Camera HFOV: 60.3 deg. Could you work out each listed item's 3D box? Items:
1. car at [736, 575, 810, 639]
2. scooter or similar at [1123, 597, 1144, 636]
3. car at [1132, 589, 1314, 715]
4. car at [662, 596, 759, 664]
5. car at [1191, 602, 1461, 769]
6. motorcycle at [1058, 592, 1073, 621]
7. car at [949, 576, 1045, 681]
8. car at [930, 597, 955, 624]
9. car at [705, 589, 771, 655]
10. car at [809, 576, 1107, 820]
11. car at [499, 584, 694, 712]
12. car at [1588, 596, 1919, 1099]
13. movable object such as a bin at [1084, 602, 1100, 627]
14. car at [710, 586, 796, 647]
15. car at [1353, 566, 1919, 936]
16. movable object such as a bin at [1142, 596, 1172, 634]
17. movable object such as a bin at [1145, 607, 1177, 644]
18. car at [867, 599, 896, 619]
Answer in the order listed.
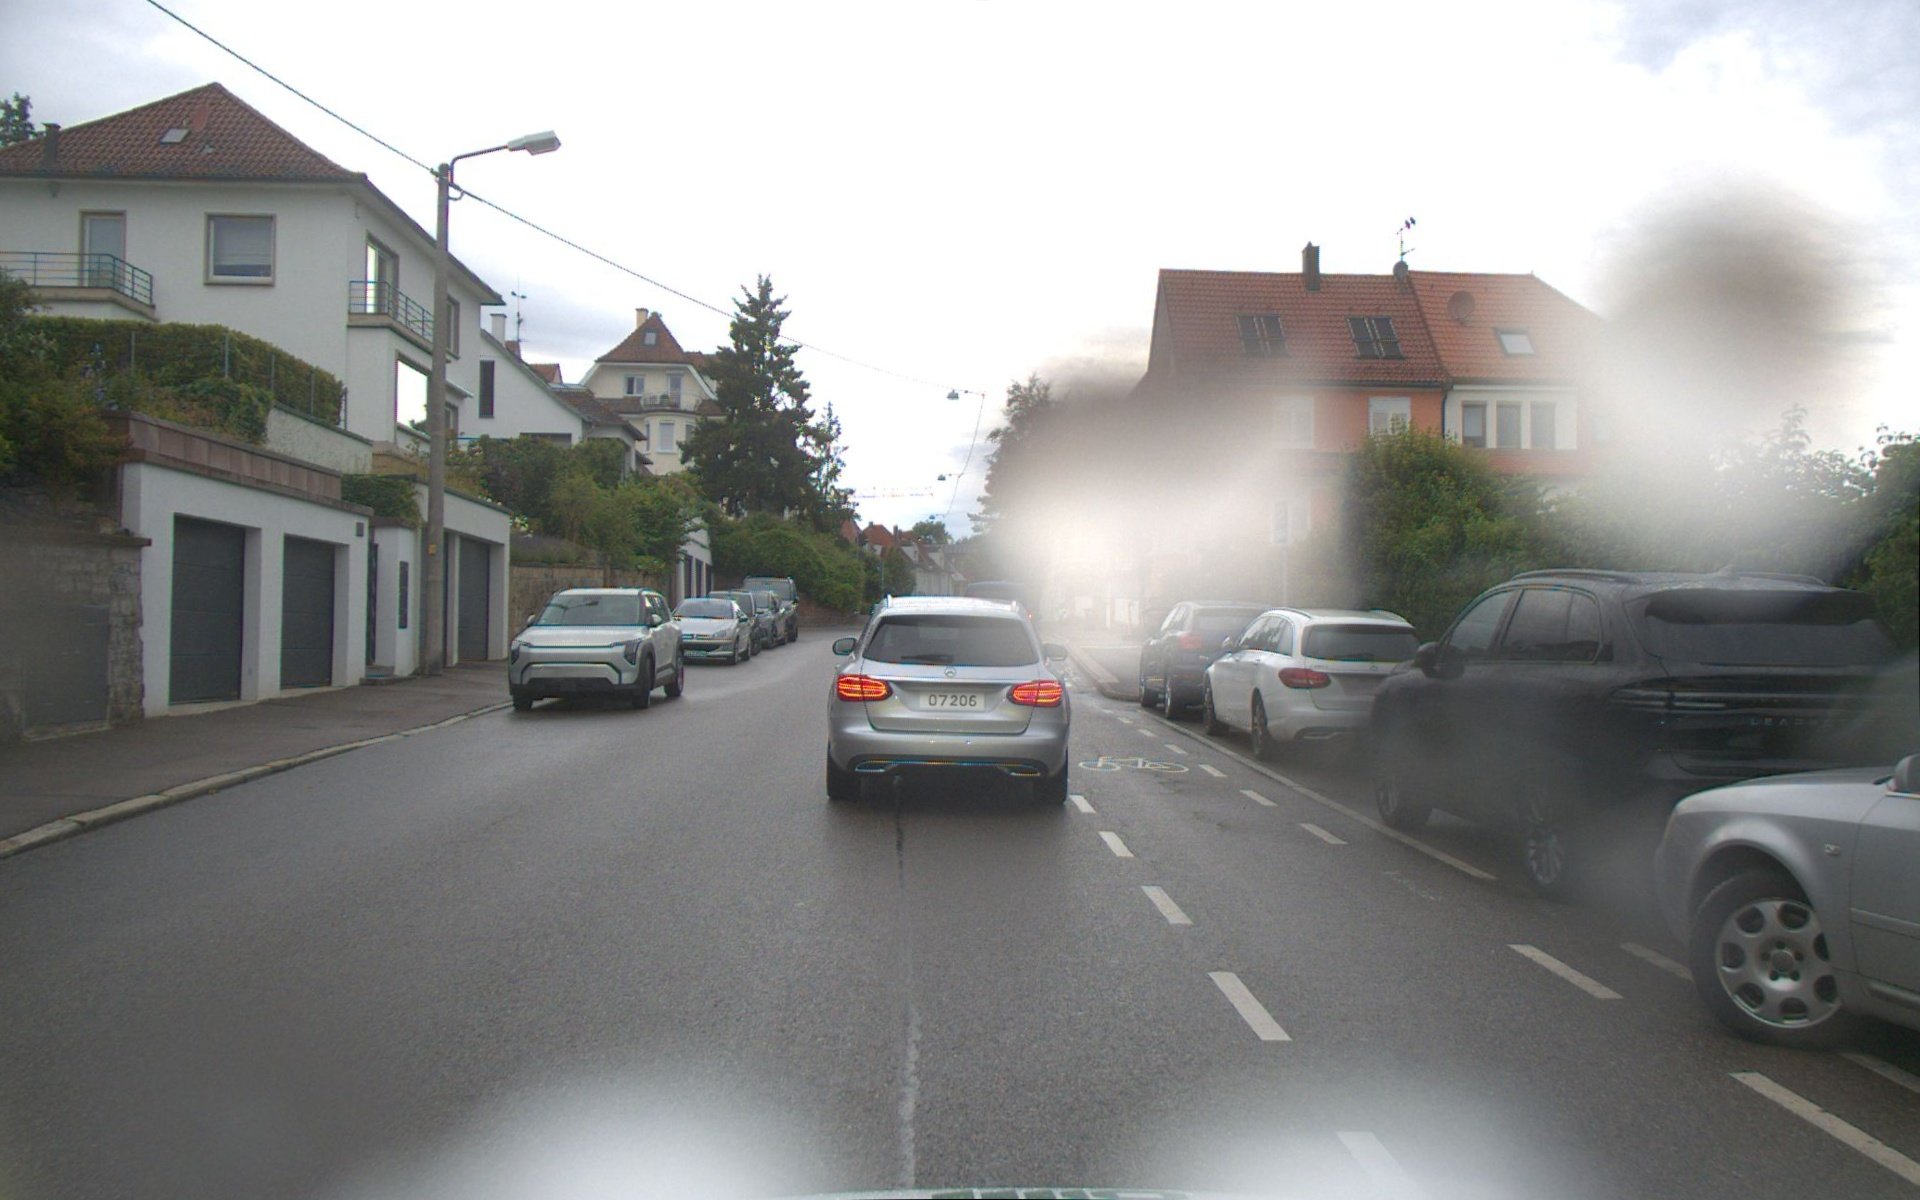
[{"bbox_3d":[-5.784,0.171,51.660,2.087,1.892,5.589,0,1,-5],"label":"car"},{"bbox_3d":[5.743,0.545,54.760,0.678,1.245,1.300,0,1,7],"label":"scooter or similar"},{"bbox_3d":[3.493,0.635,22.674,1.718,1.557,4.204,0,0,-2],"label":"car"},{"bbox_3d":[-5.407,0.626,36.205,1.577,1.361,3.840,0,1,-1],"label":"car"},{"bbox_3d":[3.627,0.776,17.216,1.678,1.430,4.607,0,1,-2],"label":"car"},{"bbox_3d":[4.859,0.294,76.381,0.570,1.283,2.332,-2,1,2],"label":"motorcycle"},{"bbox_3d":[0.797,0.548,35.285,1.787,1.915,4.096,-4,1,2],"label":"car"},{"bbox_3d":[-1.762,1.045,167.676,2.417,2.441,3.999,-3,0,-1],"label":"car"},{"bbox_3d":[-5.473,0.506,40.982,1.467,1.550,3.156,0,1,-5],"label":"car"},{"bbox_3d":[0.003,0.616,12.986,1.942,1.581,4.298,1,1,0],"label":"car"},{"bbox_3d":[-5.026,0.602,23.427,1.859,1.594,4.237,-1,1,-1],"label":"car"},{"bbox_3d":[3.883,0.756,4.463,1.769,1.465,4.624,0,1,-15],"label":"car"},{"bbox_3d":[5.336,0.596,66.654,0.538,0.952,0.634,-3,1,-1],"label":"movable object such as a bin"},{"bbox_3d":[-5.656,0.421,45.649,1.859,1.541,4.341,1,1,-1],"label":"car"},{"bbox_3d":[3.894,0.668,9.860,1.849,1.691,4.546,1,1,-2],"label":"car"},{"bbox_3d":[5.595,0.429,47.083,0.697,1.047,0.757,-2,1,-2],"label":"movable object such as a bin"},{"bbox_3d":[5.486,0.683,45.133,0.564,0.986,0.662,1,1,-33],"label":"movable object such as a bin"},{"bbox_3d":[-5.932,0.679,125.410,2.074,1.497,4.015,0,1,-2],"label":"car"}]
